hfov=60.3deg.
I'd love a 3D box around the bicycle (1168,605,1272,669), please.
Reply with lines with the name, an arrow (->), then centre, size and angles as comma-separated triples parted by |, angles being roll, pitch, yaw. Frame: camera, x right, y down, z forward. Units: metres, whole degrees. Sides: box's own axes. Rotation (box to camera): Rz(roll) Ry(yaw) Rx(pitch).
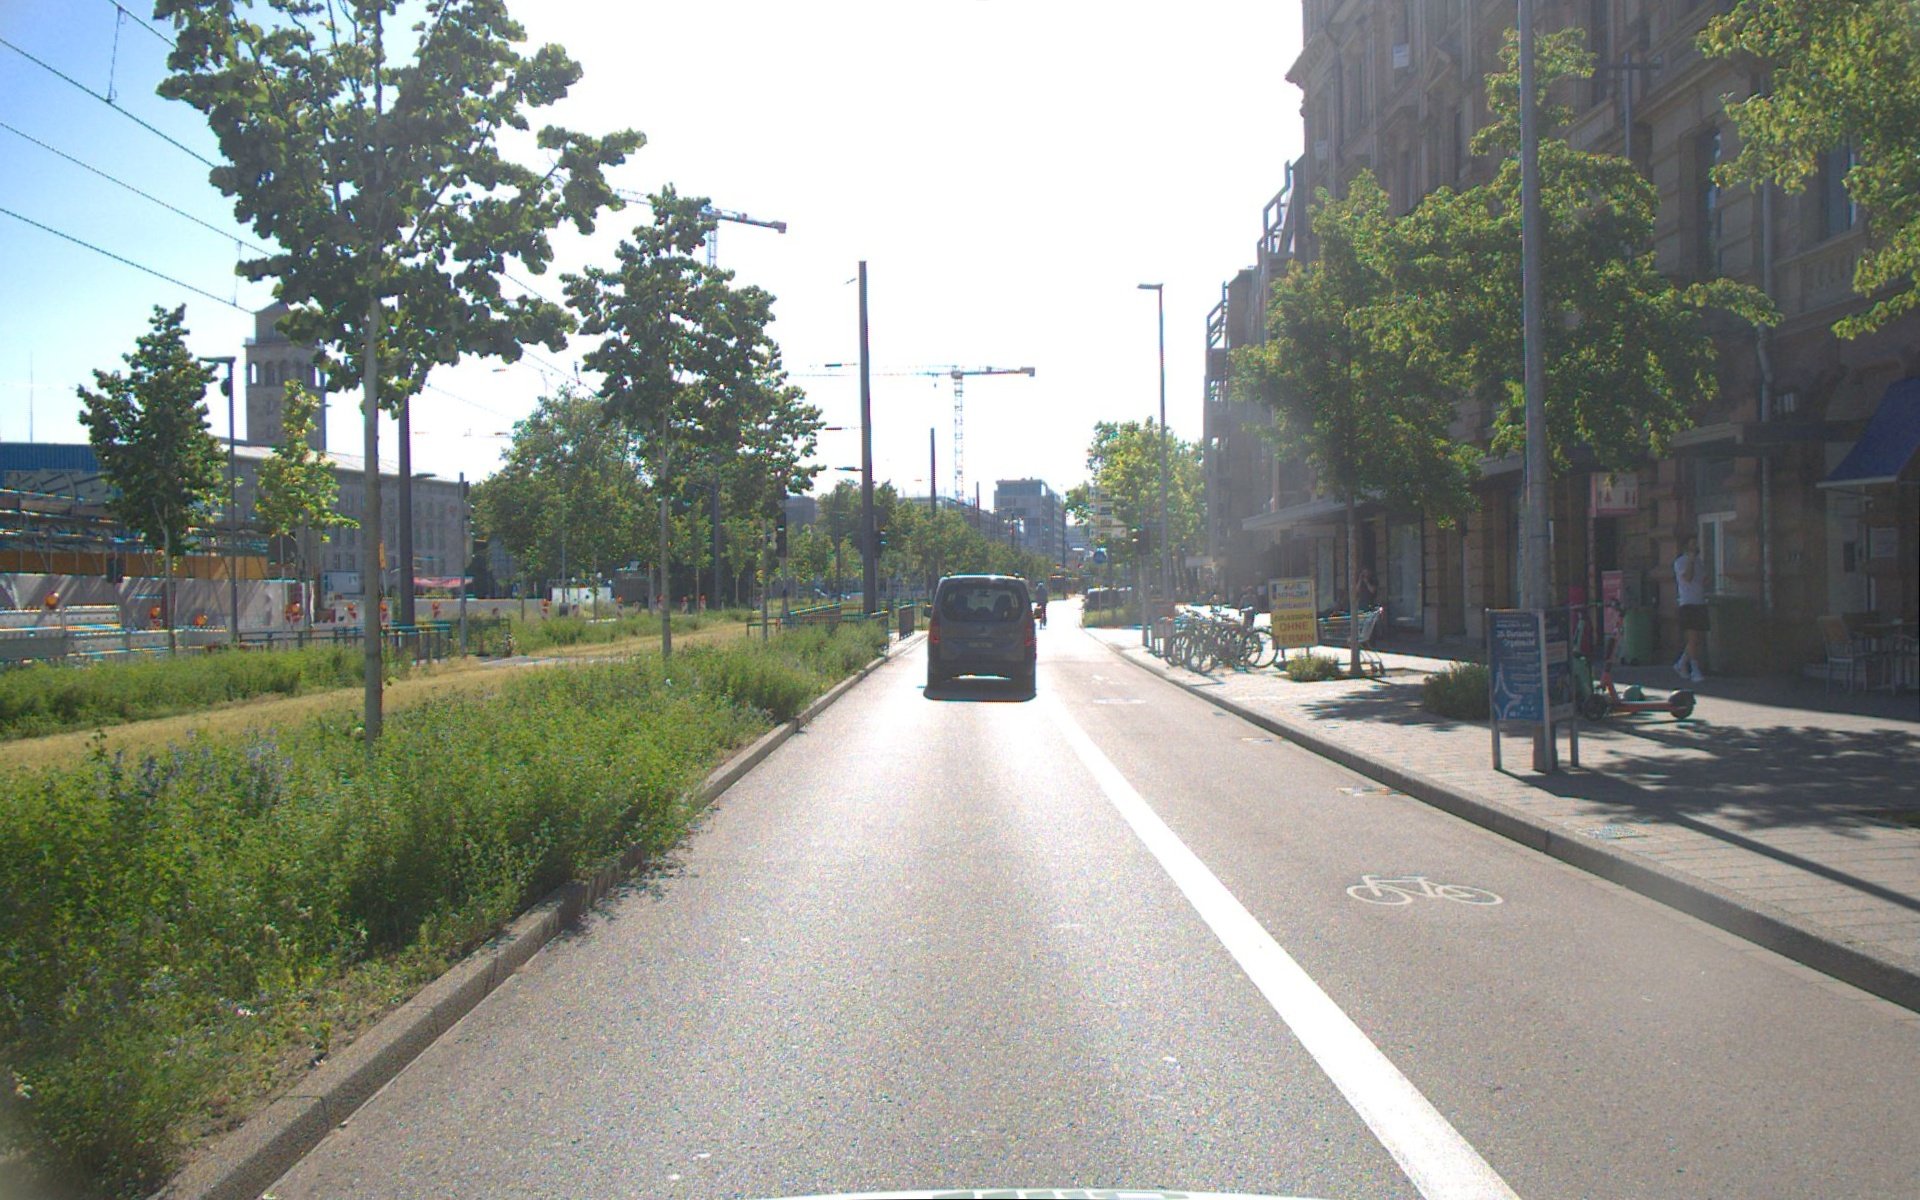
bicycle -> 5.004, 0.708, 31.872 | 1.790, 1.097, 0.664 | -4, 0, -7

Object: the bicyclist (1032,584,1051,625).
bicyclist -> 3.271, 0.181, 66.406 | 0.669, 1.612, 0.839 | -1, 0, -2

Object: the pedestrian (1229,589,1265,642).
pedestrian -> 7.660, 0.411, 44.191 | 0.688, 1.359, 1.011 | -5, -1, 0

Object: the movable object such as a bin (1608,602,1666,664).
movable object such as a bin -> 10.448, 0.505, 25.543 | 0.592, 0.932, 0.650 | -1, 0, -6

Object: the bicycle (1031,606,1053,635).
bicycle -> 3.280, 0.816, 66.420 | 0.687, 1.110, 2.276 | -1, 0, -2

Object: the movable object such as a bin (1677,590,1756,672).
movable object such as a bin -> 10.521, 0.425, 23.014 | 0.711, 1.117, 0.747 | -1, 0, -6

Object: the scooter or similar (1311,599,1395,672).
scooter or similar -> 6.525, 0.585, 27.524 | 1.194, 1.125, 0.783 | -2, 1, 1

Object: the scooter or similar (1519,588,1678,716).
scooter or similar -> 6.767, 0.535, 17.547 | 1.447, 1.237, 0.600 | -3, 1, -12

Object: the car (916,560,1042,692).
car -> 0.246, 0.416, 27.711 | 1.953, 2.049, 3.999 | 0, -1, -1

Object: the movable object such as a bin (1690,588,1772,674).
movable object such as a bin -> 10.362, 0.409, 22.243 | 0.711, 1.117, 0.747 | -1, 0, -6

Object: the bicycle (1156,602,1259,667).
bicycle -> 4.989, 0.694, 33.388 | 1.880, 1.140, 0.664 | -4, 0, -7

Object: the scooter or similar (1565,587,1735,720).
scooter or similar -> 6.992, 0.528, 16.791 | 1.445, 1.237, 0.601 | -3, 1, -5

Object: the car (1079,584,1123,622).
car -> 6.699, 0.165, 78.877 | 1.979, 1.752, 4.120 | 0, -1, 4

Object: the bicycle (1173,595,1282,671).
bicycle -> 4.904, 0.602, 30.335 | 1.843, 1.255, 0.499 | -3, 0, -7

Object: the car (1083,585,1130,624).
car -> 6.386, 0.228, 72.552 | 1.947, 1.666, 4.191 | 0, -1, 4

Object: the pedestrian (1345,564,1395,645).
pedestrian -> 9.163, 0.107, 36.972 | 0.827, 1.772, 0.886 | -2, -1, -1

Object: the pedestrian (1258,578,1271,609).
pedestrian -> 16.780, -0.371, 91.145 | 0.685, 1.681, 0.724 | -1, 0, 7

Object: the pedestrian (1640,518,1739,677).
pedestrian -> 9.614, -0.009, 21.842 | 0.801, 2.049, 1.045 | 0, -3, -1
